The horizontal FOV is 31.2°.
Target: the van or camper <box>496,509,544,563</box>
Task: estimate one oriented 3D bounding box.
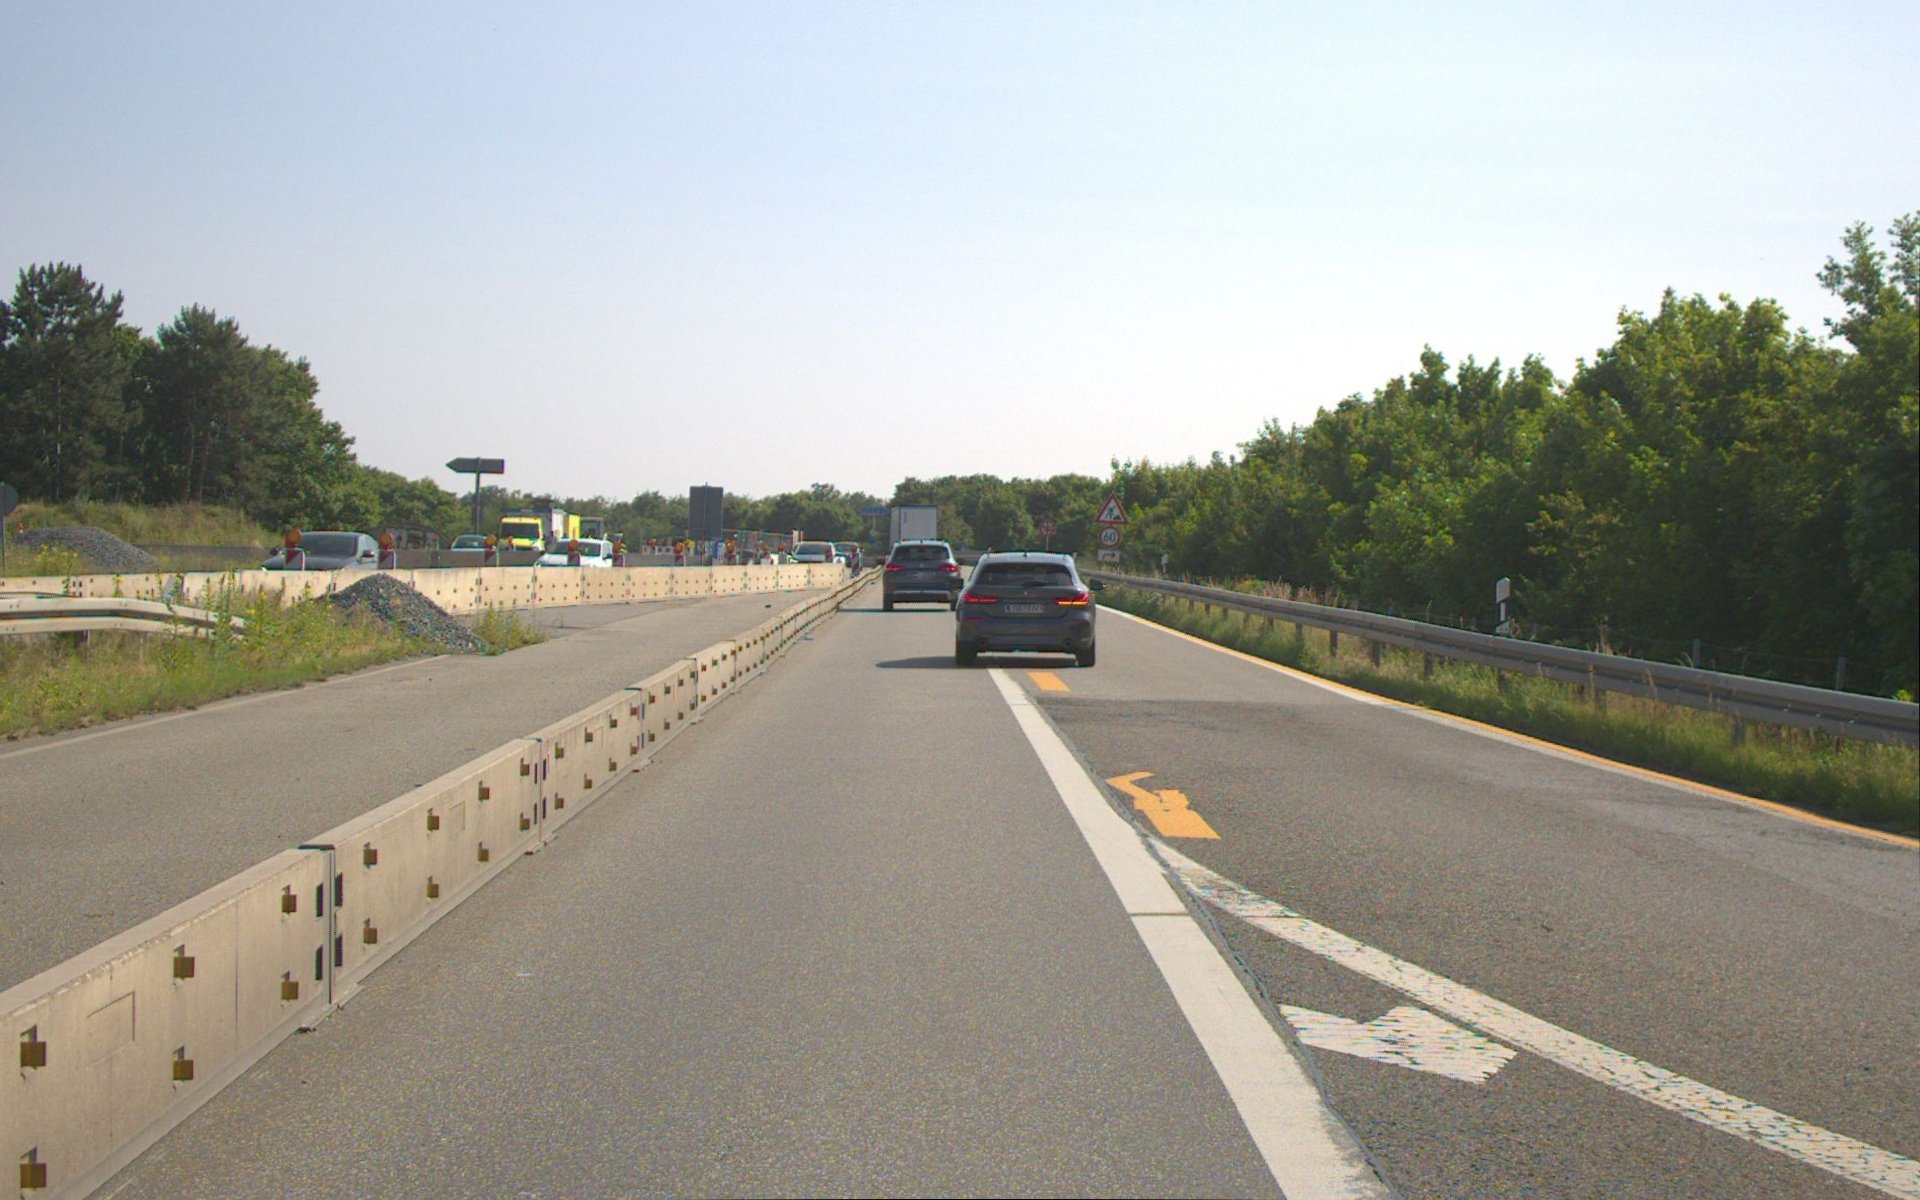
[{"bbox_3d":[-19.878,-2.887,155.474,1.993,2.369,6.203,-1,1,-6],"label":"van or camper"}]

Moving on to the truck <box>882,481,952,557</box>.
[{"bbox_3d":[-3.004,-5.461,232.976,3.760,4.894,14.139,2,1,-4],"label":"truck"}]

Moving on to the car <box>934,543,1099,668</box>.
[{"bbox_3d":[0.686,0.039,44.708,1.920,1.488,4.000,2,1,-2],"label":"car"}]

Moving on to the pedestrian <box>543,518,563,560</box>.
[{"bbox_3d":[-17.987,-2.682,151.865,0.740,1.814,0.797,2,1,-12],"label":"pedestrian"}]

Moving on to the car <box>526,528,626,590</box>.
[{"bbox_3d":[-10.317,-1.120,92.727,1.817,1.602,4.438,1,1,5],"label":"car"}]

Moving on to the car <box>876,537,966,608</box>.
[{"bbox_3d":[-0.871,-0.661,79.058,1.993,1.561,4.000,1,1,0],"label":"car"}]

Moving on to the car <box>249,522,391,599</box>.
[{"bbox_3d":[-12.406,-0.788,66.874,1.839,1.435,4.813,0,1,0],"label":"car"}]
